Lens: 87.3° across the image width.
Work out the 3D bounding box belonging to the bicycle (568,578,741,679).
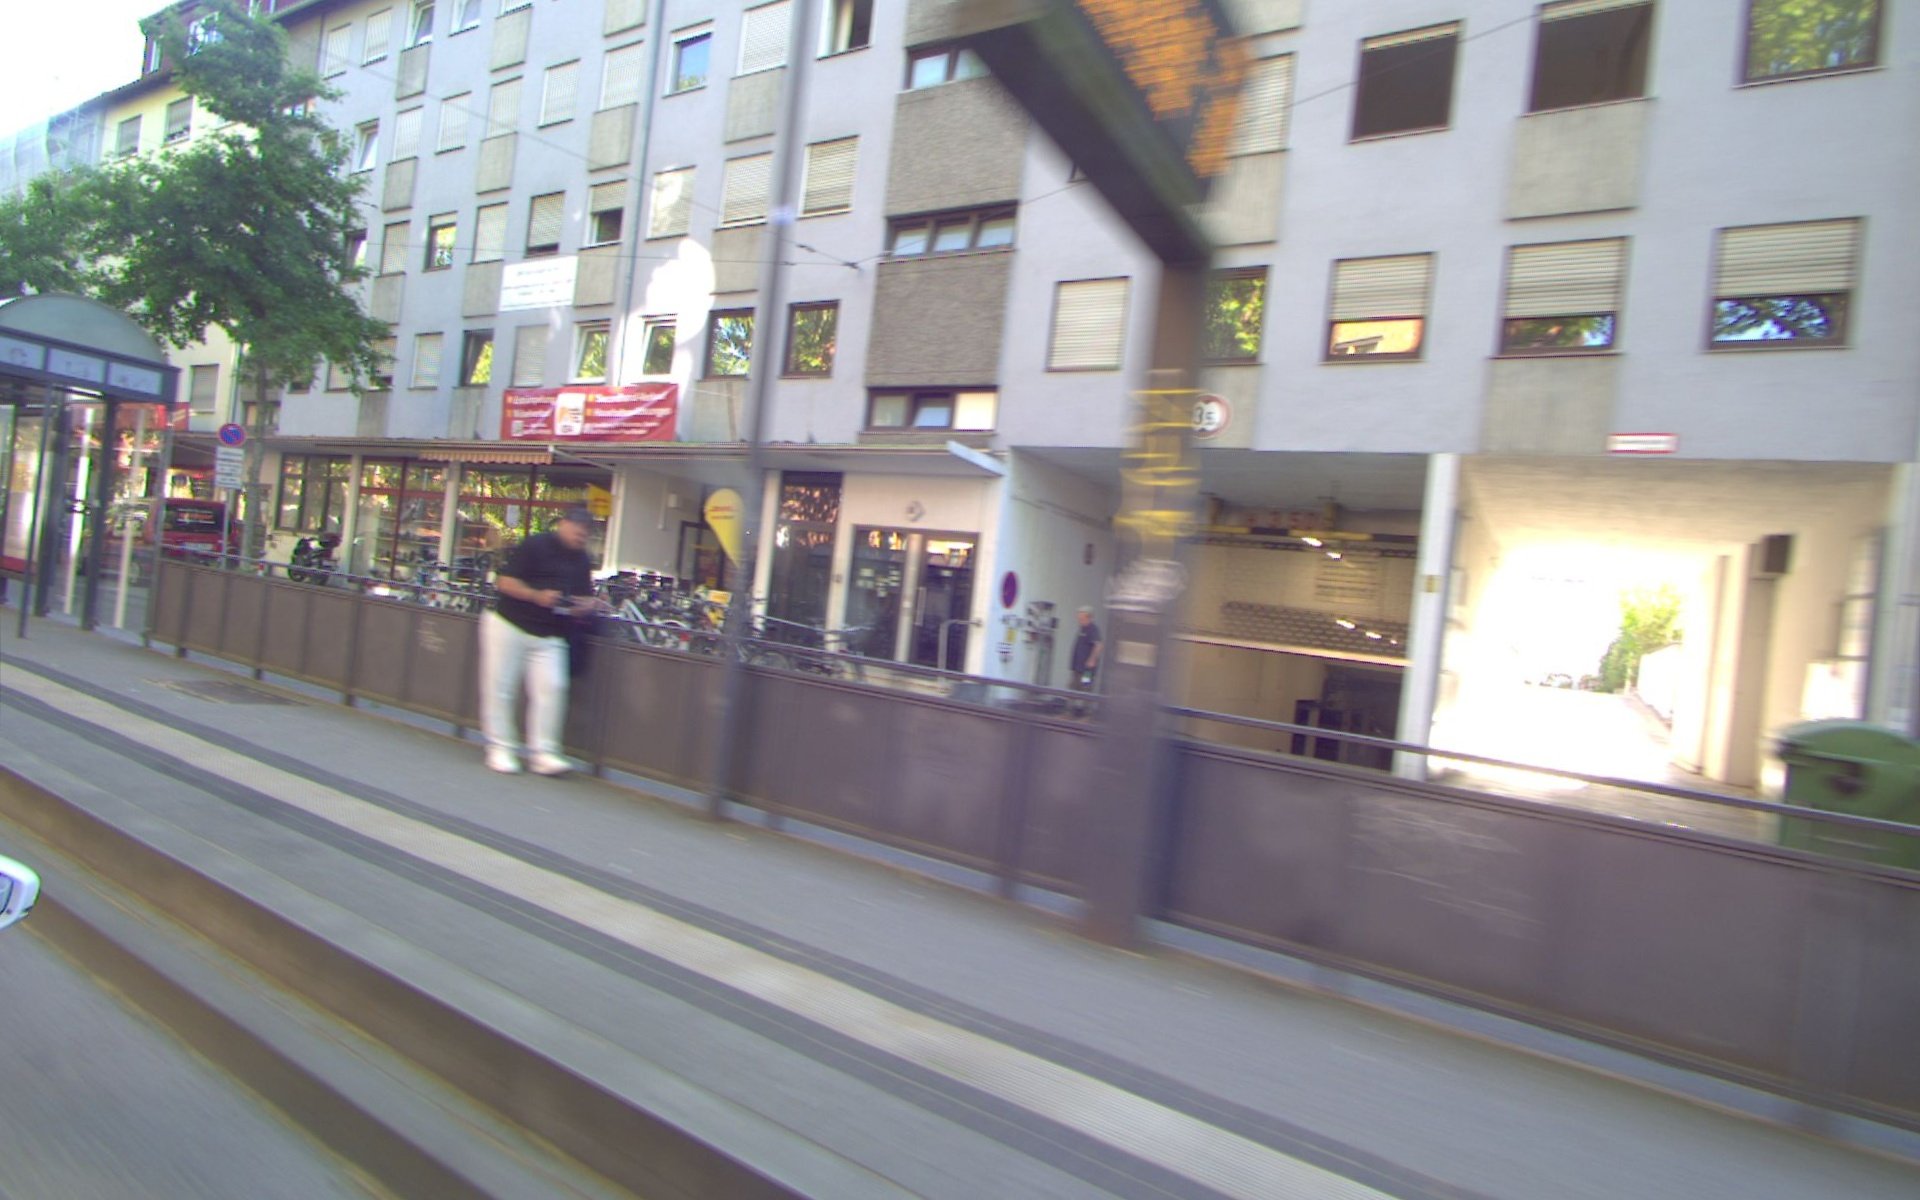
[{"bbox_3d":[-4.414,0.404,14.484,2.389,1.149,0.604,6,-1,20],"label":"bicycle"}]

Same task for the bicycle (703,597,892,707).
[{"bbox_3d":[-2.197,0.682,13.502,2.394,1.149,0.623,6,-1,20],"label":"bicycle"}]

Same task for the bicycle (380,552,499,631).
[{"bbox_3d":[-9.293,-0.160,17.927,2.165,1.149,0.599,6,-1,26],"label":"bicycle"}]

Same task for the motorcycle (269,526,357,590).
[{"bbox_3d":[-15.648,-1.017,24.328,2.009,1.295,0.893,6,-1,32],"label":"motorcycle"}]

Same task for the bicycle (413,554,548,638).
[{"bbox_3d":[-8.108,-0.073,16.999,2.163,1.149,0.599,6,-1,20],"label":"bicycle"}]

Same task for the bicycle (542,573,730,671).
[{"bbox_3d":[-4.966,0.330,15.357,2.867,1.149,0.613,6,-1,20],"label":"bicycle"}]

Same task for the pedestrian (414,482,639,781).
[{"bbox_3d":[-2.545,0.181,5.919,0.856,1.594,0.632,7,-2,32],"label":"pedestrian"}]

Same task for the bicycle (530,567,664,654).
[{"bbox_3d":[-5.871,0.167,16.225,2.163,1.149,0.411,6,-1,20],"label":"bicycle"}]

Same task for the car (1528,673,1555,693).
[{"bbox_3d":[46.649,6.661,80.699,1.678,1.265,3.760,6,-2,31],"label":"car"}]

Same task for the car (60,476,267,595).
[{"bbox_3d":[-16.742,-1.366,21.125,3.933,1.975,1.998,6,-2,31],"label":"car"}]

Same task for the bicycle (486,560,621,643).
[{"bbox_3d":[-6.895,0.022,17.038,2.163,1.149,0.599,6,-1,20],"label":"bicycle"}]

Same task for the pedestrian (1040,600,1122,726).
[{"bbox_3d":[1.845,0.961,15.289,0.805,1.792,0.719,7,-1,31],"label":"pedestrian"}]

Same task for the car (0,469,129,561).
[{"bbox_3d":[-22.411,-2.106,24.498,3.933,1.818,1.998,6,-2,31],"label":"car"}]
